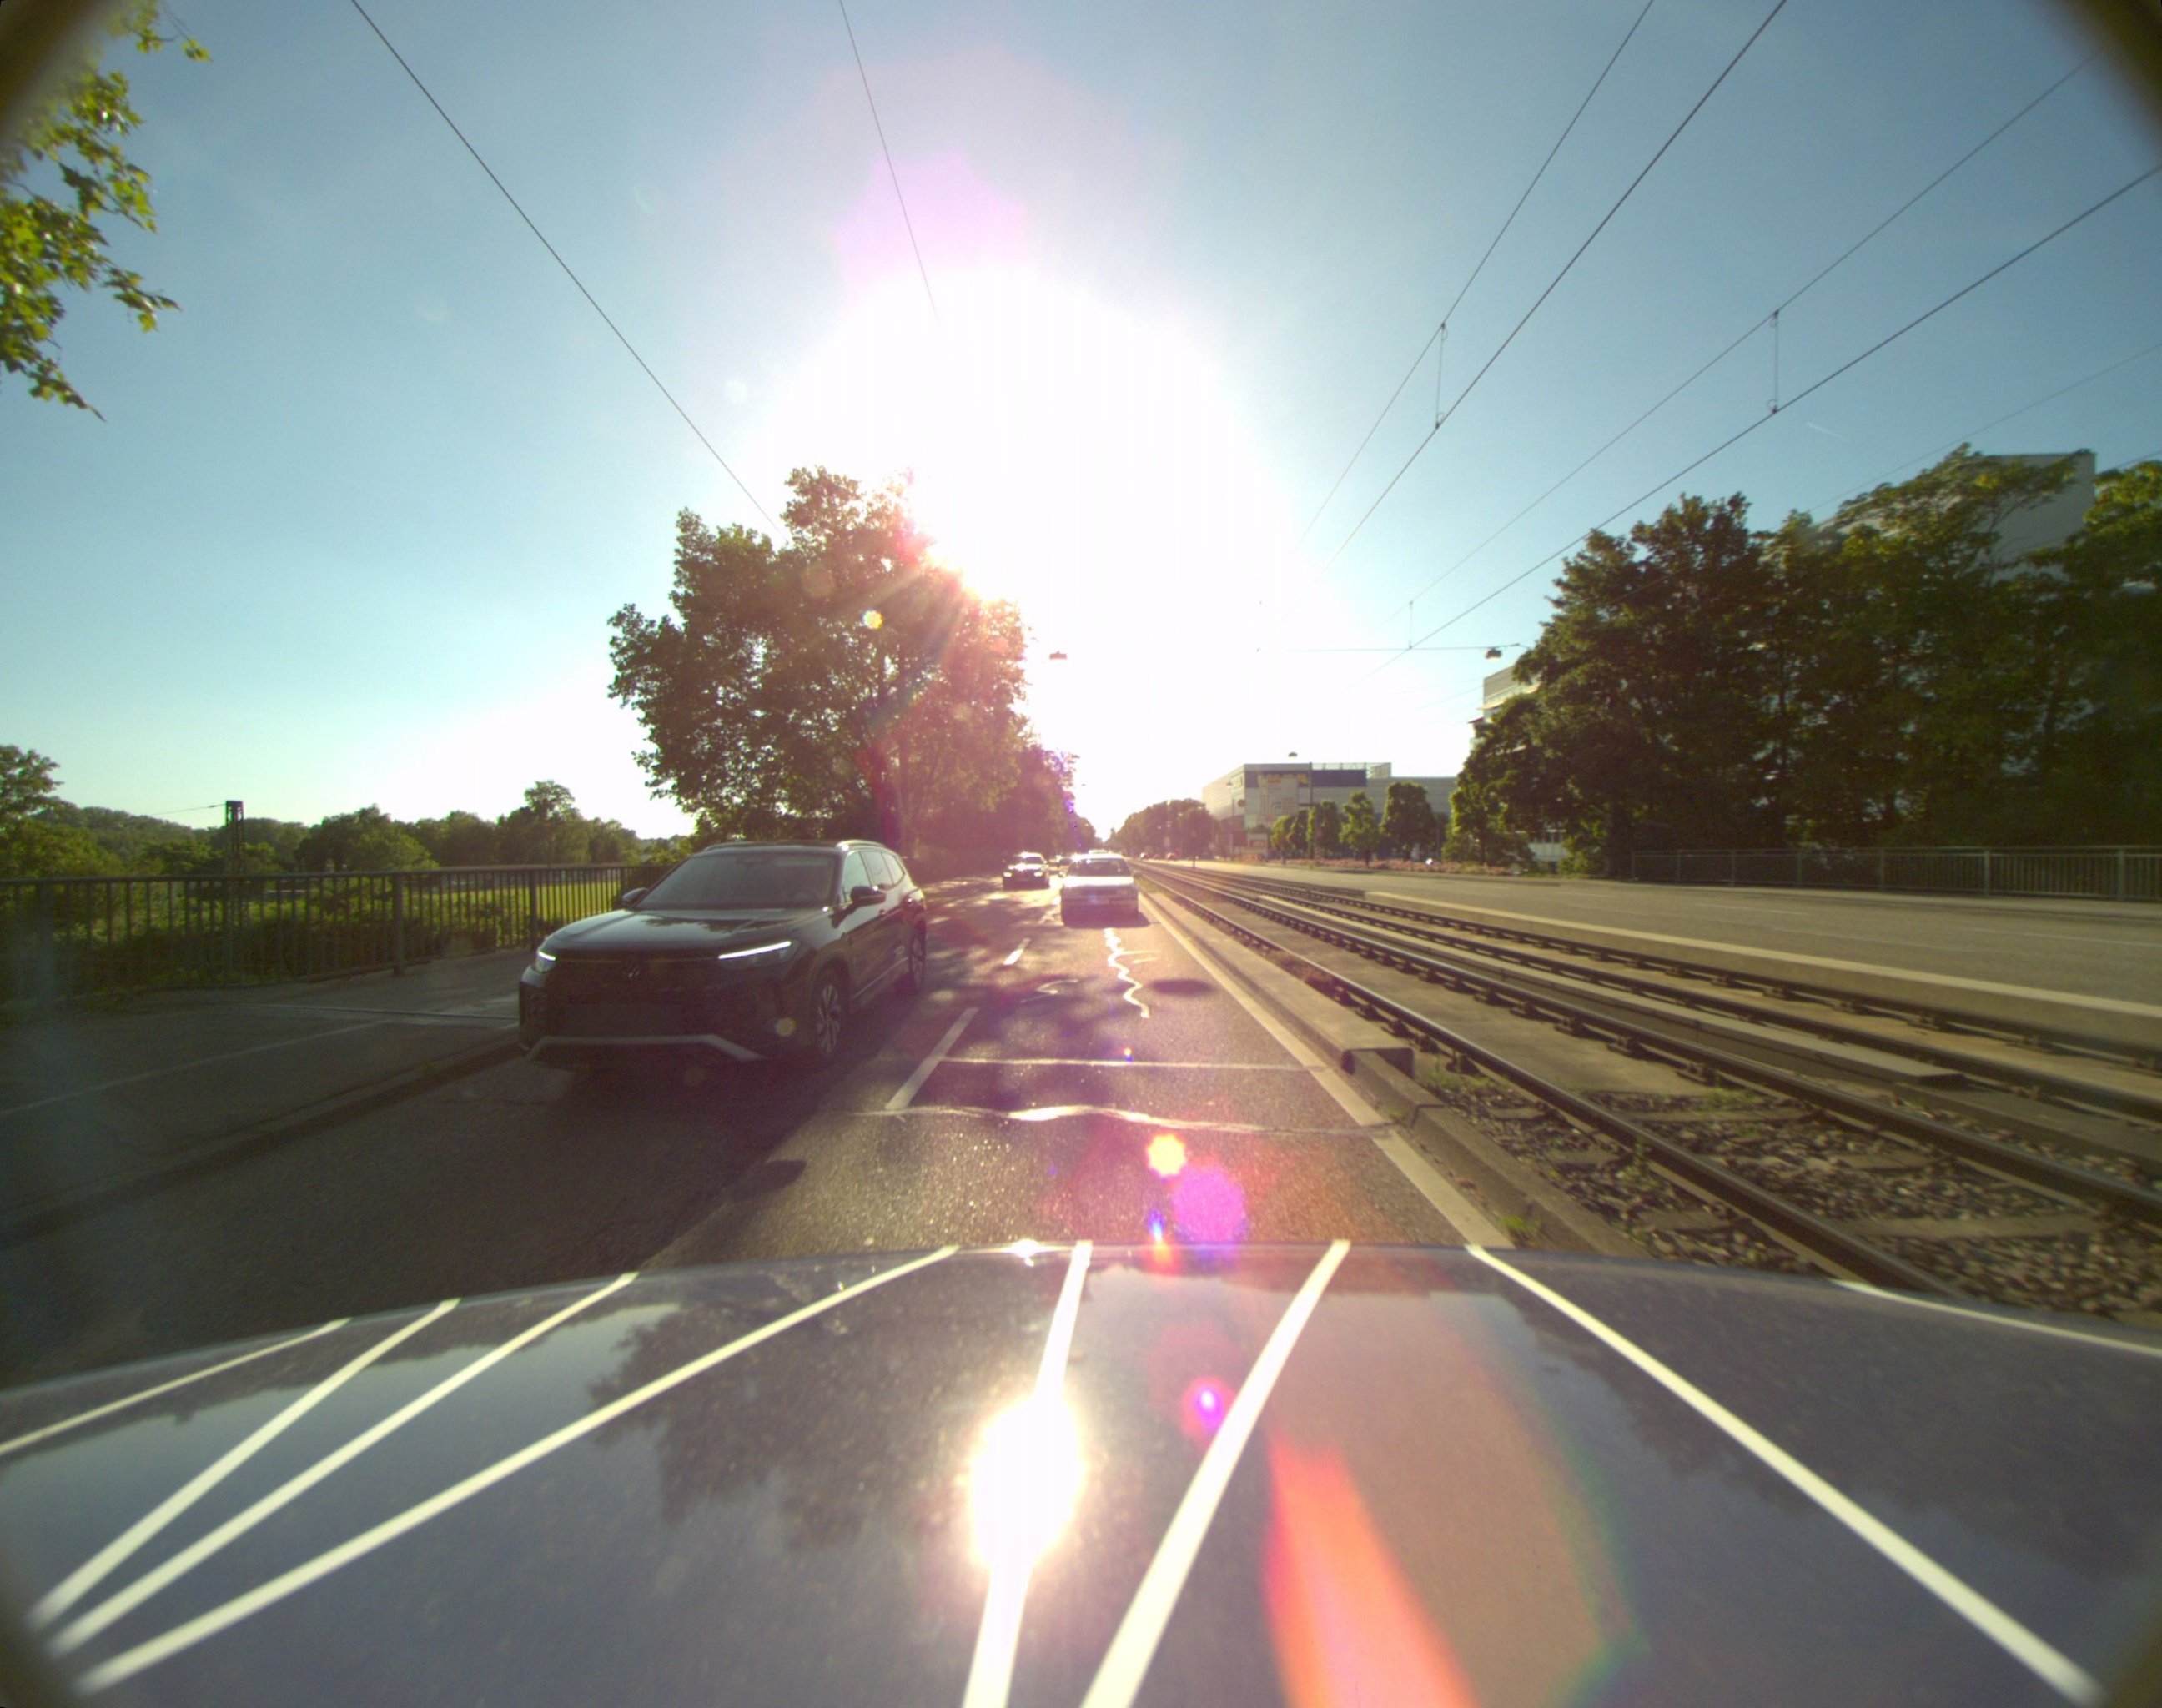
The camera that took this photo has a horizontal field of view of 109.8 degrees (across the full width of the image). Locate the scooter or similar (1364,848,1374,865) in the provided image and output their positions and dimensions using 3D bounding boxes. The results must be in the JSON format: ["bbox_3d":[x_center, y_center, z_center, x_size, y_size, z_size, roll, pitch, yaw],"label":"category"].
[{"bbox_3d":[22.437,0.201,59.244,0.473,1.288,1.263,0,0,8],"label":"scooter or similar"}]

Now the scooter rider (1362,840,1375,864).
[{"bbox_3d":[22.412,-0.142,59.247,0.683,1.837,1.001,0,0,8],"label":"scooter rider"}]

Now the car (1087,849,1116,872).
[{"bbox_3d":[1.484,0.464,53.246,1.871,1.422,3.832,-3,-1,3],"label":"car"}]

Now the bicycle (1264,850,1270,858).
[{"bbox_3d":[27.382,-0.030,111.856,0.604,1.212,1.749,-3,0,7],"label":"bicycle"}]

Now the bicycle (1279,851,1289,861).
[{"bbox_3d":[20.968,0.206,78.405,0.706,1.067,2.029,-3,-1,8],"label":"bicycle"}]

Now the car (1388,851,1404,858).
[{"bbox_3d":[82.560,0.103,199.131,1.827,1.789,4.225,-3,-1,-13],"label":"car"}]

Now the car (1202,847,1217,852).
[{"bbox_3d":[38.442,-1.360,227.220,4.252,1.489,2.017,2,1,6],"label":"car"}]

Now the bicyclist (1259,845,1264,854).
[{"bbox_3d":[29.334,-0.751,123.323,0.626,1.366,0.880,0,0,5],"label":"bicyclist"}]

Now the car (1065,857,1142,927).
[{"bbox_3d":[0.513,0.810,17.894,1.602,1.440,3.799,-1,0,1],"label":"car"}]

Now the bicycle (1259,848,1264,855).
[{"bbox_3d":[29.333,-0.396,123.311,0.626,1.052,1.704,0,0,5],"label":"bicycle"}]

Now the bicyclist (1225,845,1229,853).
[{"bbox_3d":[31.752,-1.104,165.476,0.662,1.614,0.802,-3,0,10],"label":"bicyclist"}]

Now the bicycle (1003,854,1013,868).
[{"bbox_3d":[-5.942,0.580,61.837,0.623,1.114,1.813,0,0,1],"label":"bicycle"}]

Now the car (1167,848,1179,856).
[{"bbox_3d":[18.780,-0.408,155.092,2.044,1.494,4.888,0,0,1],"label":"car"}]

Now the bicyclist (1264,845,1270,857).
[{"bbox_3d":[27.358,-0.406,111.805,0.604,1.649,0.963,-3,0,7],"label":"bicyclist"}]

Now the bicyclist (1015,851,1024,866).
[{"bbox_3d":[-4.981,0.357,61.840,0.642,1.218,0.891,1,0,1],"label":"bicyclist"}]

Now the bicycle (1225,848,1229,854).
[{"bbox_3d":[31.789,-0.650,165.560,0.662,1.144,2.023,-3,-1,10],"label":"bicycle"}]

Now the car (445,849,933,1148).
[{"bbox_3d":[-2.645,0.805,6.519,1.849,1.651,4.438,0,1,0],"label":"car"}]

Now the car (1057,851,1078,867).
[{"bbox_3d":[-1.244,0.489,73.433,1.856,1.414,3.980,-1,-1,1],"label":"car"}]

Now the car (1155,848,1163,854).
[{"bbox_3d":[20.457,-0.840,199.503,1.861,1.452,4.138,0,-1,-1],"label":"car"}]

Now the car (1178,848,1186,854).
[{"bbox_3d":[26.213,-0.809,197.532,1.938,1.468,4.135,2,0,9],"label":"car"}]

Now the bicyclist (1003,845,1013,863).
[{"bbox_3d":[-5.927,0.006,61.952,0.687,1.500,0.891,0,0,1],"label":"bicyclist"}]

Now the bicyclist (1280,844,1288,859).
[{"bbox_3d":[20.941,-0.228,78.400,0.706,1.503,0.971,-3,0,8],"label":"bicyclist"}]

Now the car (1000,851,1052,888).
[{"bbox_3d":[-2.322,0.620,33.144,1.870,1.459,4.586,-2,0,0],"label":"car"}]

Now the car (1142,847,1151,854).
[{"bbox_3d":[16.658,-0.869,192.987,1.998,1.645,4.659,1,0,2],"label":"car"}]
